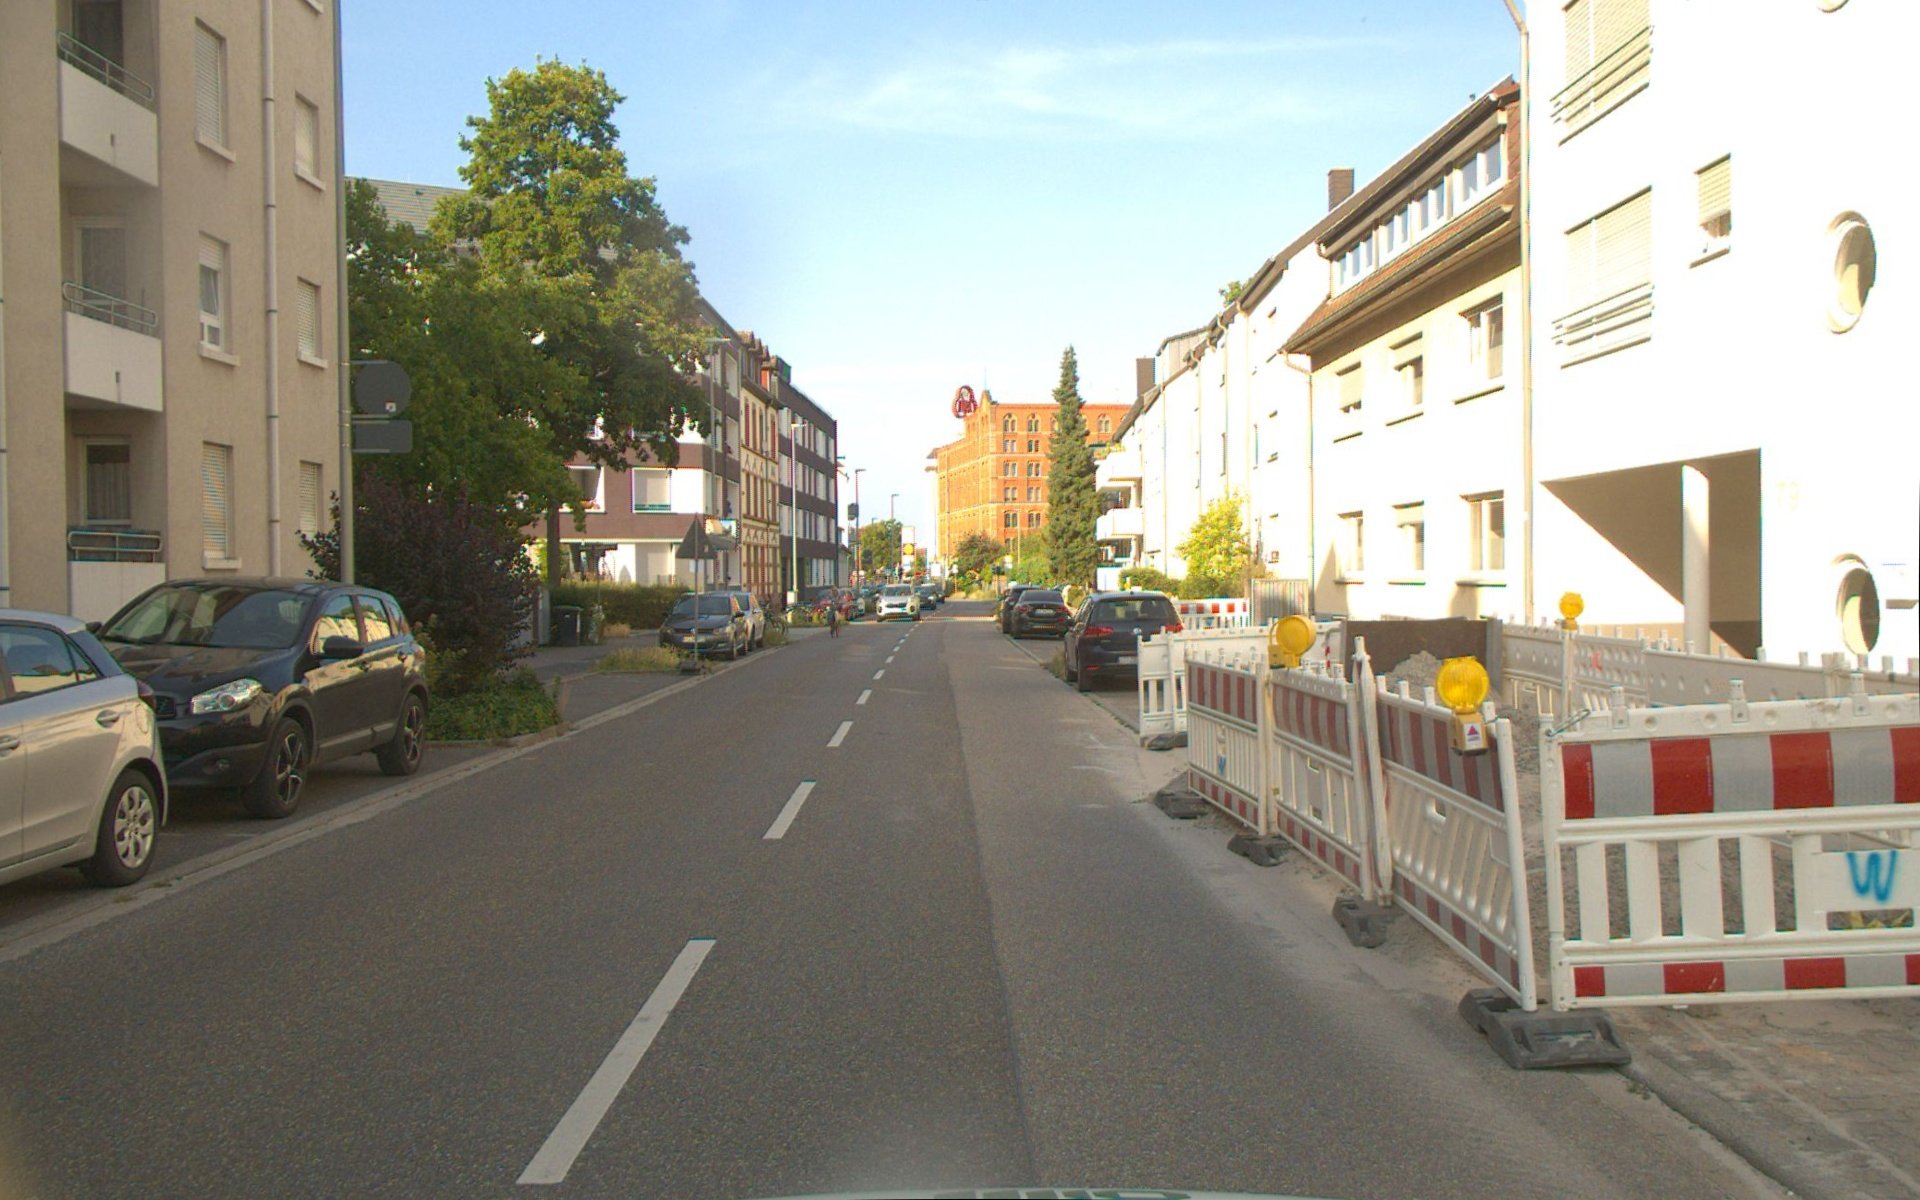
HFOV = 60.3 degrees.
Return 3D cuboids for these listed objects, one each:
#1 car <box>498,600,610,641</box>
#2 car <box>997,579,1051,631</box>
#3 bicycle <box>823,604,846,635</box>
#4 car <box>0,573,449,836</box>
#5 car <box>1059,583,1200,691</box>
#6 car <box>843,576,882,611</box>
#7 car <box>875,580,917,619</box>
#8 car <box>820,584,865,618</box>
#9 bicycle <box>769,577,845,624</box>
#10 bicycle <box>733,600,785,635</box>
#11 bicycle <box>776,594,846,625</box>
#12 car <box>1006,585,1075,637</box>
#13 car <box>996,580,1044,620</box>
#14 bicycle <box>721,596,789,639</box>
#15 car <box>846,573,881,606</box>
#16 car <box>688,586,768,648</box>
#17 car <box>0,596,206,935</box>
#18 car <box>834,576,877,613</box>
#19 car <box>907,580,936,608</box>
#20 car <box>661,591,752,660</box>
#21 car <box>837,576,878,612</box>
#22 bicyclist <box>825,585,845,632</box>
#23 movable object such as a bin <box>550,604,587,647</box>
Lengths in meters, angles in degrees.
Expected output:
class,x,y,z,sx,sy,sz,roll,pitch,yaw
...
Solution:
class,x,y,z,sx,sy,sz,roll,pitch,yaw
car,-14.012,0.690,57.106,3.414,1.310,1.646,-1,1,-33
car,2.125,0.137,55.671,1.569,1.674,3.684,-1,0,-1
bicycle,-4.027,0.613,53.188,0.596,0.959,1.811,0,1,1
car,-5.319,0.630,12.488,1.652,1.631,4.369,0,0,-1
car,2.583,0.519,25.994,1.792,1.508,3.943,-1,1,0
car,-5.606,-0.408,95.453,1.953,1.940,4.000,-1,0,0
car,-2.851,-0.046,74.012,1.728,1.644,3.999,-1,1,-1
car,-5.361,0.035,75.594,1.802,1.489,3.584,-1,1,0
bicycle,-6.076,0.022,65.762,2.858,1.808,1.202,-1,0,0
bicycle,-6.132,0.528,50.518,1.554,1.059,0.707,-1,0,-6
bicycle,-6.086,0.383,67.536,2.716,1.164,1.143,-1,0,0
car,2.421,0.302,50.442,1.821,1.497,3.999,-1,0,-1
car,2.440,-0.020,67.837,1.728,1.552,3.999,-2,1,-1
bicycle,-6.050,0.501,48.875,1.962,1.238,0.707,-1,0,-7
car,-5.926,-0.656,101.840,1.953,1.914,4.000,-1,1,0
car,-5.993,0.401,43.064,1.642,1.528,3.998,0,1,-2
car,-5.081,0.743,7.306,1.651,1.480,4.140,0,1,-1
car,-5.444,-0.314,86.261,1.953,1.867,3.689,-1,0,0
car,-2.370,-0.410,102.076,1.728,1.644,3.999,-1,1,-1
car,-5.650,0.534,37.229,1.542,1.445,3.803,0,1,-1
car,-5.644,-0.347,91.375,1.953,1.945,3.689,-1,0,0
bicyclist,-4.027,0.271,53.279,0.578,1.467,0.750,-1,0,0
movable object such as a bin,-10.210,0.667,43.186,0.737,1.058,0.816,2,0,0
